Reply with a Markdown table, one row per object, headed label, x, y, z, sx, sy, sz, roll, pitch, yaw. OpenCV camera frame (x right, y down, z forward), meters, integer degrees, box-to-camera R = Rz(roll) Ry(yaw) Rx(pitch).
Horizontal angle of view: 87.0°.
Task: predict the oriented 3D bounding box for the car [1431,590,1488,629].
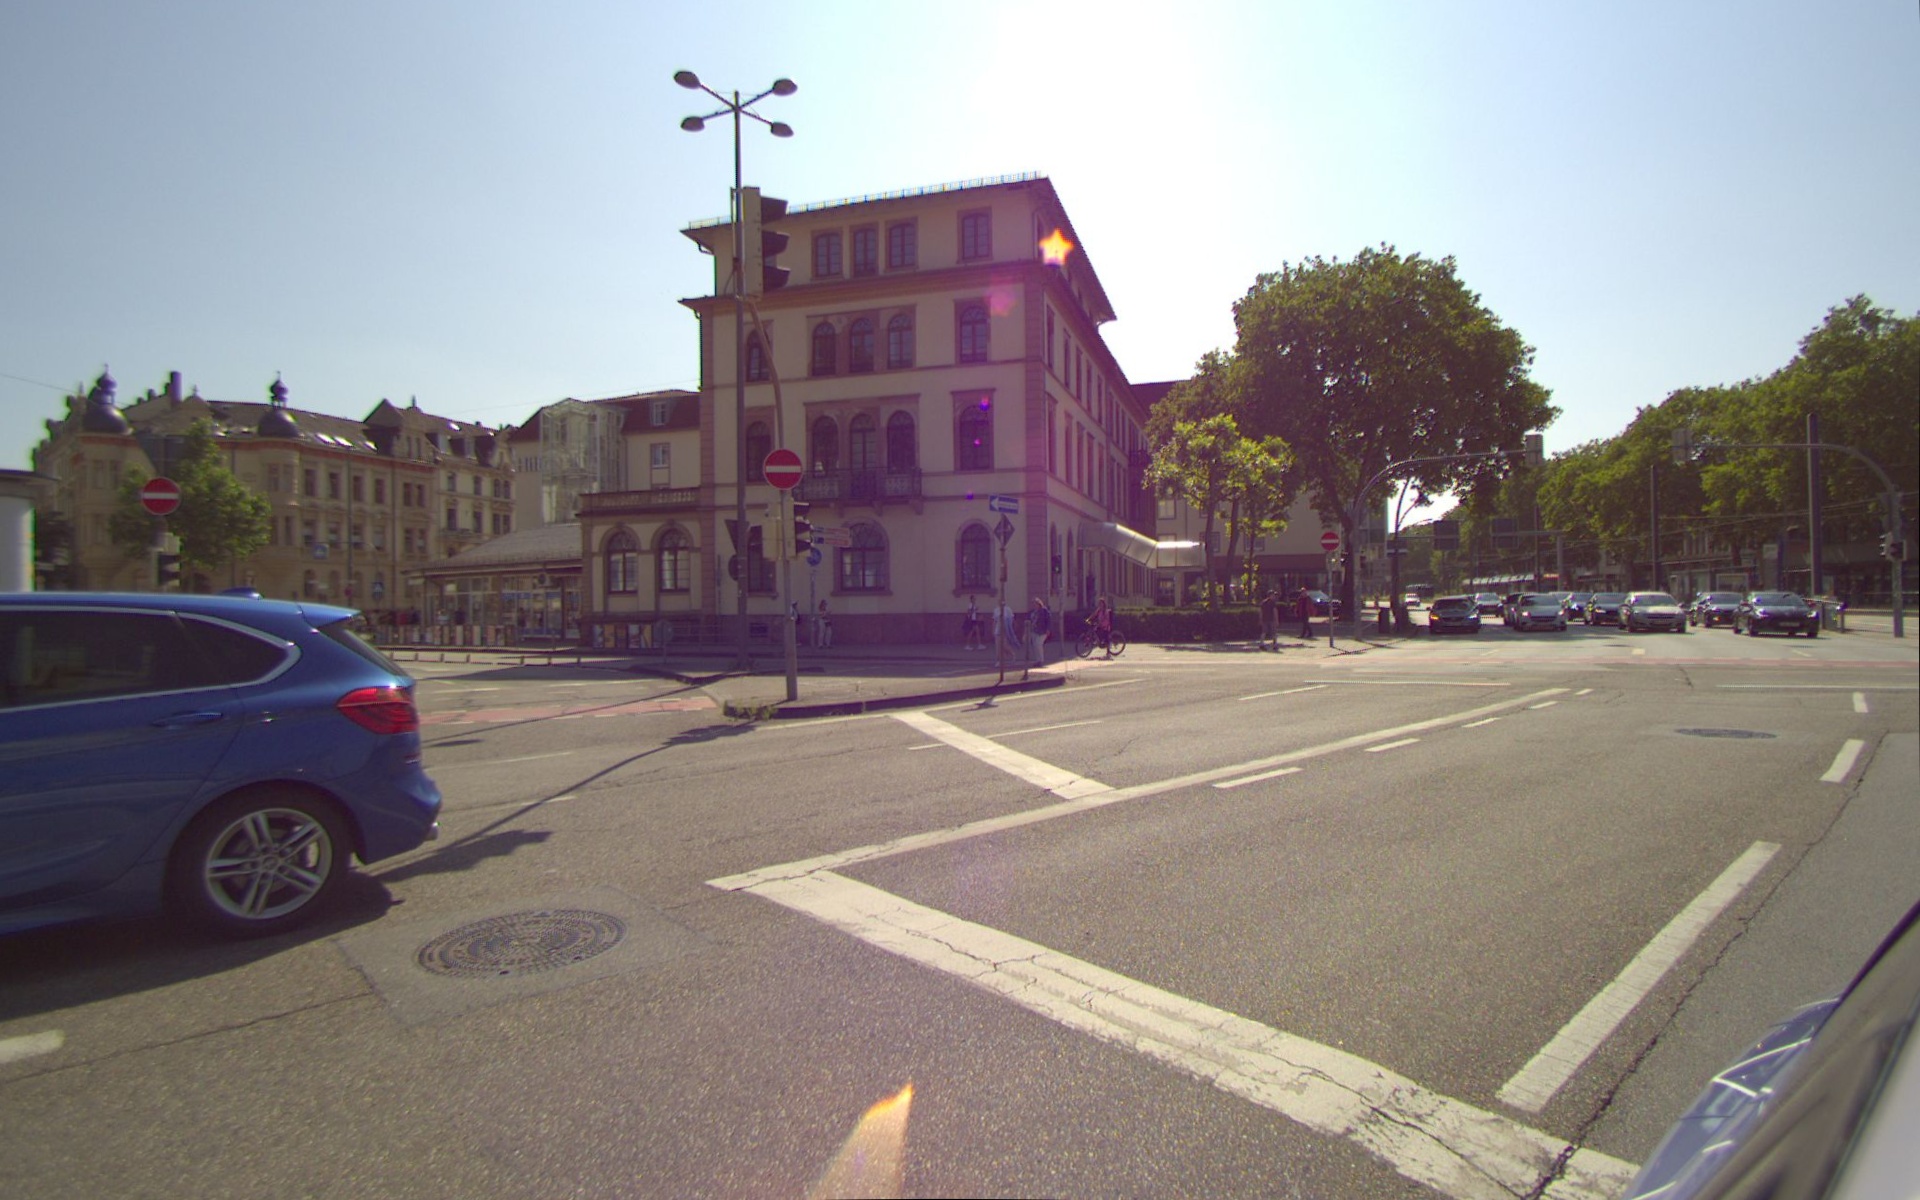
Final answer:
| label | x | y | z | sx | sy | sz | roll | pitch | yaw |
| --- | --- | --- | --- | --- | --- | --- | --- | --- | --- |
| car | 20.145 | 0.341 | 40.933 | 1.771 | 1.470 | 3.945 | 0 | 1 | 22 |

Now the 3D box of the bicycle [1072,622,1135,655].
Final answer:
| label | x | y | z | sx | sy | sz | roll | pitch | yaw |
| --- | --- | --- | --- | --- | --- | --- | --- | --- | --- |
| bicycle | 4.066 | 1.082 | 28.713 | 1.708 | 0.865 | 0.594 | -1 | 0 | -23 |

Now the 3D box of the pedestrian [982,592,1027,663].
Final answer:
| label | x | y | z | sx | sy | sz | roll | pitch | yaw |
| --- | --- | --- | --- | --- | --- | --- | --- | --- | --- |
| pedestrian | 1.078 | 0.659 | 24.531 | 0.749 | 1.680 | 0.819 | -1 | -1 | 36 |

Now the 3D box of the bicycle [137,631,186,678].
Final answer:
| label | x | y | z | sx | sy | sz | roll | pitch | yaw |
| --- | --- | --- | --- | --- | --- | --- | --- | --- | --- |
| bicycle | -20.168 | 1.358 | 25.546 | 1.809 | 1.113 | 0.498 | 0 | 0 | 35 |

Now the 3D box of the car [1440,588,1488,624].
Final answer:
| label | x | y | z | sx | sy | sz | roll | pitch | yaw |
| --- | --- | --- | --- | --- | --- | --- | --- | --- | --- |
| car | 22.988 | 0.236 | 46.264 | 1.773 | 1.544 | 3.942 | 1 | 1 | 24 |

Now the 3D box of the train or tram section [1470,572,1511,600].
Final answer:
| label | x | y | z | sx | sy | sz | roll | pitch | yaw |
| --- | --- | --- | --- | --- | --- | --- | --- | --- | --- |
| train or tram section | 65.689 | -1.695 | 125.444 | 2.696 | 3.309 | 8.693 | -1 | 0 | 16 |

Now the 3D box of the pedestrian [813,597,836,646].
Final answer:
| label | x | y | z | sx | sy | sz | roll | pitch | yaw |
| --- | --- | --- | --- | --- | --- | --- | --- | --- | --- |
| pedestrian | -4.659 | 0.735 | 34.813 | 0.529 | 1.670 | 0.576 | -1 | -1 | 21 |

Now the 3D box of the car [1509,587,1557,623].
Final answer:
| label | x | y | z | sx | sy | sz | roll | pitch | yaw |
| --- | --- | --- | --- | --- | --- | --- | --- | --- | --- |
| car | 26.455 | 0.203 | 46.831 | 1.775 | 1.549 | 3.936 | 1 | 1 | 27 |

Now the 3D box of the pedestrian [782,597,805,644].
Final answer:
| label | x | y | z | sx | sy | sz | roll | pitch | yaw |
| --- | --- | --- | --- | --- | --- | --- | --- | --- | --- |
| pedestrian | -6.055 | 0.735 | 36.789 | 0.528 | 1.670 | 0.670 | -1 | -1 | 20 |

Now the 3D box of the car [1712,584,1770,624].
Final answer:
| label | x | y | z | sx | sy | sz | roll | pitch | yaw |
| --- | --- | --- | --- | --- | --- | --- | --- | --- | --- |
| car | 31.517 | 0.122 | 40.883 | 1.783 | 1.536 | 3.920 | 1 | 1 | 38 |

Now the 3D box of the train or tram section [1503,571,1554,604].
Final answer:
| label | x | y | z | sx | sy | sz | roll | pitch | yaw |
| --- | --- | --- | --- | --- | --- | --- | --- | --- | --- |
| train or tram section | 60.919 | -1.332 | 108.709 | 2.696 | 3.309 | 8.693 | -1 | 0 | 16 |

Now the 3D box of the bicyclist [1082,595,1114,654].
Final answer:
| label | x | y | z | sx | sy | sz | roll | pitch | yaw |
| --- | --- | --- | --- | --- | --- | --- | --- | --- | --- |
| bicyclist | 3.909 | 0.691 | 28.655 | 0.670 | 1.627 | 0.594 | -1 | -1 | -23 |

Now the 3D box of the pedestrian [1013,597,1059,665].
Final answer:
| label | x | y | z | sx | sy | sz | roll | pitch | yaw |
| --- | --- | --- | --- | --- | --- | --- | --- | --- | --- |
| pedestrian | 1.844 | 0.736 | 24.415 | 0.769 | 1.592 | 0.818 | -1 | -1 | 37 |

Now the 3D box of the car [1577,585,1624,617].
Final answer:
| label | x | y | z | sx | sy | sz | roll | pitch | yaw |
| --- | --- | --- | --- | --- | --- | --- | --- | --- | --- |
| car | 31.736 | 0.017 | 50.248 | 1.777 | 1.542 | 3.932 | 1 | 1 | 30 |

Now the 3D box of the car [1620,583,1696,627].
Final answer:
| label | x | y | z | sx | sy | sz | roll | pitch | yaw |
| --- | --- | --- | --- | --- | --- | --- | --- | --- | --- |
| car | 25.791 | 0.182 | 37.515 | 1.704 | 1.519 | 4.448 | 0 | 0 | 27 |

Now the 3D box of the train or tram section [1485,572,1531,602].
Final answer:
| label | x | y | z | sx | sy | sz | roll | pitch | yaw |
| --- | --- | --- | --- | --- | --- | --- | --- | --- | --- |
| train or tram section | 63.291 | -1.513 | 117.081 | 2.696 | 3.309 | 8.693 | -1 | 0 | 16 |

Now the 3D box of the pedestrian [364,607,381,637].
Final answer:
| label | x | y | z | sx | sy | sz | roll | pitch | yaw |
| --- | --- | --- | --- | --- | --- | --- | --- | --- | --- |
| pedestrian | -32.289 | 1.228 | 55.596 | 0.706 | 1.624 | 0.723 | 0 | -1 | -41 |

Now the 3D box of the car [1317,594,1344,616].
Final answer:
| label | x | y | z | sx | sy | sz | roll | pitch | yaw |
| --- | --- | --- | --- | --- | --- | --- | --- | --- | --- |
| car | 24.325 | 0.303 | 66.406 | 1.572 | 1.339 | 3.554 | -1 | 0 | 22 |

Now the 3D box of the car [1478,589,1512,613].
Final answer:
| label | x | y | z | sx | sy | sz | roll | pitch | yaw |
| --- | --- | --- | --- | --- | --- | --- | --- | --- | --- |
| car | 34.460 | 0.066 | 65.121 | 1.777 | 1.470 | 3.931 | 1 | 1 | 30 |

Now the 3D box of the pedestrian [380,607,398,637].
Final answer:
| label | x | y | z | sx | sy | sz | roll | pitch | yaw |
| --- | --- | --- | --- | --- | --- | --- | --- | --- | --- |
| pedestrian | -31.843 | 1.218 | 56.425 | 0.707 | 1.624 | 0.723 | 0 | -1 | -42 |

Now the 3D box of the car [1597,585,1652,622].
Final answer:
| label | x | y | z | sx | sy | sz | roll | pitch | yaw |
| --- | --- | --- | --- | --- | --- | --- | --- | --- | --- |
| car | 29.271 | 0.099 | 44.647 | 1.777 | 1.542 | 3.932 | 1 | 1 | 30 |

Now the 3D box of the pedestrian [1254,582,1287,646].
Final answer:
| label | x | y | z | sx | sy | sz | roll | pitch | yaw |
| --- | --- | --- | --- | --- | --- | --- | --- | --- | --- |
| pedestrian | 9.208 | 0.420 | 29.997 | 0.714 | 1.869 | 0.592 | -1 | -1 | -5 |

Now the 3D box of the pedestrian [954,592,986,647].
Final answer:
| label | x | y | z | sx | sy | sz | roll | pitch | yaw |
| --- | --- | --- | --- | --- | --- | --- | --- | --- | --- |
| pedestrian | 0.325 | 0.611 | 32.181 | 0.832 | 1.717 | 0.741 | -1 | 0 | 16 |

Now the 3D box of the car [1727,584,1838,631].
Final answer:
| label | x | y | z | sx | sy | sz | roll | pitch | yaw |
| --- | --- | --- | --- | --- | --- | --- | --- | --- | --- |
| car | 27.190 | 0.192 | 33.613 | 1.773 | 1.470 | 4.245 | 1 | 1 | 24 |

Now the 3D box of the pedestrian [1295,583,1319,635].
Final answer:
| label | x | y | z | sx | sy | sz | roll | pitch | yaw |
| --- | --- | --- | --- | --- | --- | --- | --- | --- | --- |
| pedestrian | 12.345 | 0.306 | 35.968 | 0.718 | 1.828 | 0.647 | -1 | -1 | 24 |

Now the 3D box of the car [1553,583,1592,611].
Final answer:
| label | x | y | z | sx | sy | sz | roll | pitch | yaw |
| --- | --- | --- | --- | --- | --- | --- | --- | --- | --- |
| car | 34.917 | -0.193 | 57.754 | 1.777 | 1.542 | 3.932 | 1 | 1 | 30 |

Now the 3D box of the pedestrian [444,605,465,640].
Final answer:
| label | x | y | z | sx | sy | sz | roll | pitch | yaw |
| --- | --- | --- | --- | --- | --- | --- | --- | --- | --- |
| pedestrian | -24.385 | 1.076 | 48.835 | 0.707 | 1.624 | 0.723 | 0 | -1 | -42 |

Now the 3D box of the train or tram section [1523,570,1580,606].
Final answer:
| label | x | y | z | sx | sy | sz | roll | pitch | yaw |
| --- | --- | --- | --- | --- | --- | --- | --- | --- | --- |
| train or tram section | 58.567 | -1.152 | 100.373 | 2.696 | 3.309 | 8.693 | -1 | 0 | 16 |

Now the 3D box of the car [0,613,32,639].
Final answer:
| label | x | y | z | sx | sy | sz | roll | pitch | yaw |
| --- | --- | --- | --- | --- | --- | --- | --- | --- | --- |
| car | -61.310 | 1.652 | 64.964 | 3.843 | 1.628 | 1.857 | -1 | 0 | 36 |

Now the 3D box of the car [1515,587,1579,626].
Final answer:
| label | x | y | z | sx | sy | sz | roll | pitch | yaw |
| --- | --- | --- | --- | --- | --- | --- | --- | --- | --- |
| car | 23.423 | 0.216 | 40.530 | 1.773 | 1.470 | 3.942 | 1 | 1 | 24 |

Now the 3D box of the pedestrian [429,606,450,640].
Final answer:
| label | x | y | z | sx | sy | sz | roll | pitch | yaw |
| --- | --- | --- | --- | --- | --- | --- | --- | --- | --- |
| pedestrian | -24.888 | 1.095 | 48.370 | 0.707 | 1.624 | 0.723 | 0 | -1 | -42 |

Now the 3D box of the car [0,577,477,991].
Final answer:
| label | x | y | z | sx | sy | sz | roll | pitch | yaw |
| --- | --- | --- | --- | --- | --- | --- | --- | --- | --- |
| car | -4.500 | 0.720 | 4.199 | 4.198 | 1.561 | 1.721 | -1 | -1 | -42 |

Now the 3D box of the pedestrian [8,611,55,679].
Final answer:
| label | x | y | z | sx | sy | sz | roll | pitch | yaw |
| --- | --- | --- | --- | --- | --- | --- | --- | --- | --- |
| pedestrian | -24.632 | 1.180 | 26.861 | 0.687 | 1.774 | 0.723 | -1 | -1 | -18 |
